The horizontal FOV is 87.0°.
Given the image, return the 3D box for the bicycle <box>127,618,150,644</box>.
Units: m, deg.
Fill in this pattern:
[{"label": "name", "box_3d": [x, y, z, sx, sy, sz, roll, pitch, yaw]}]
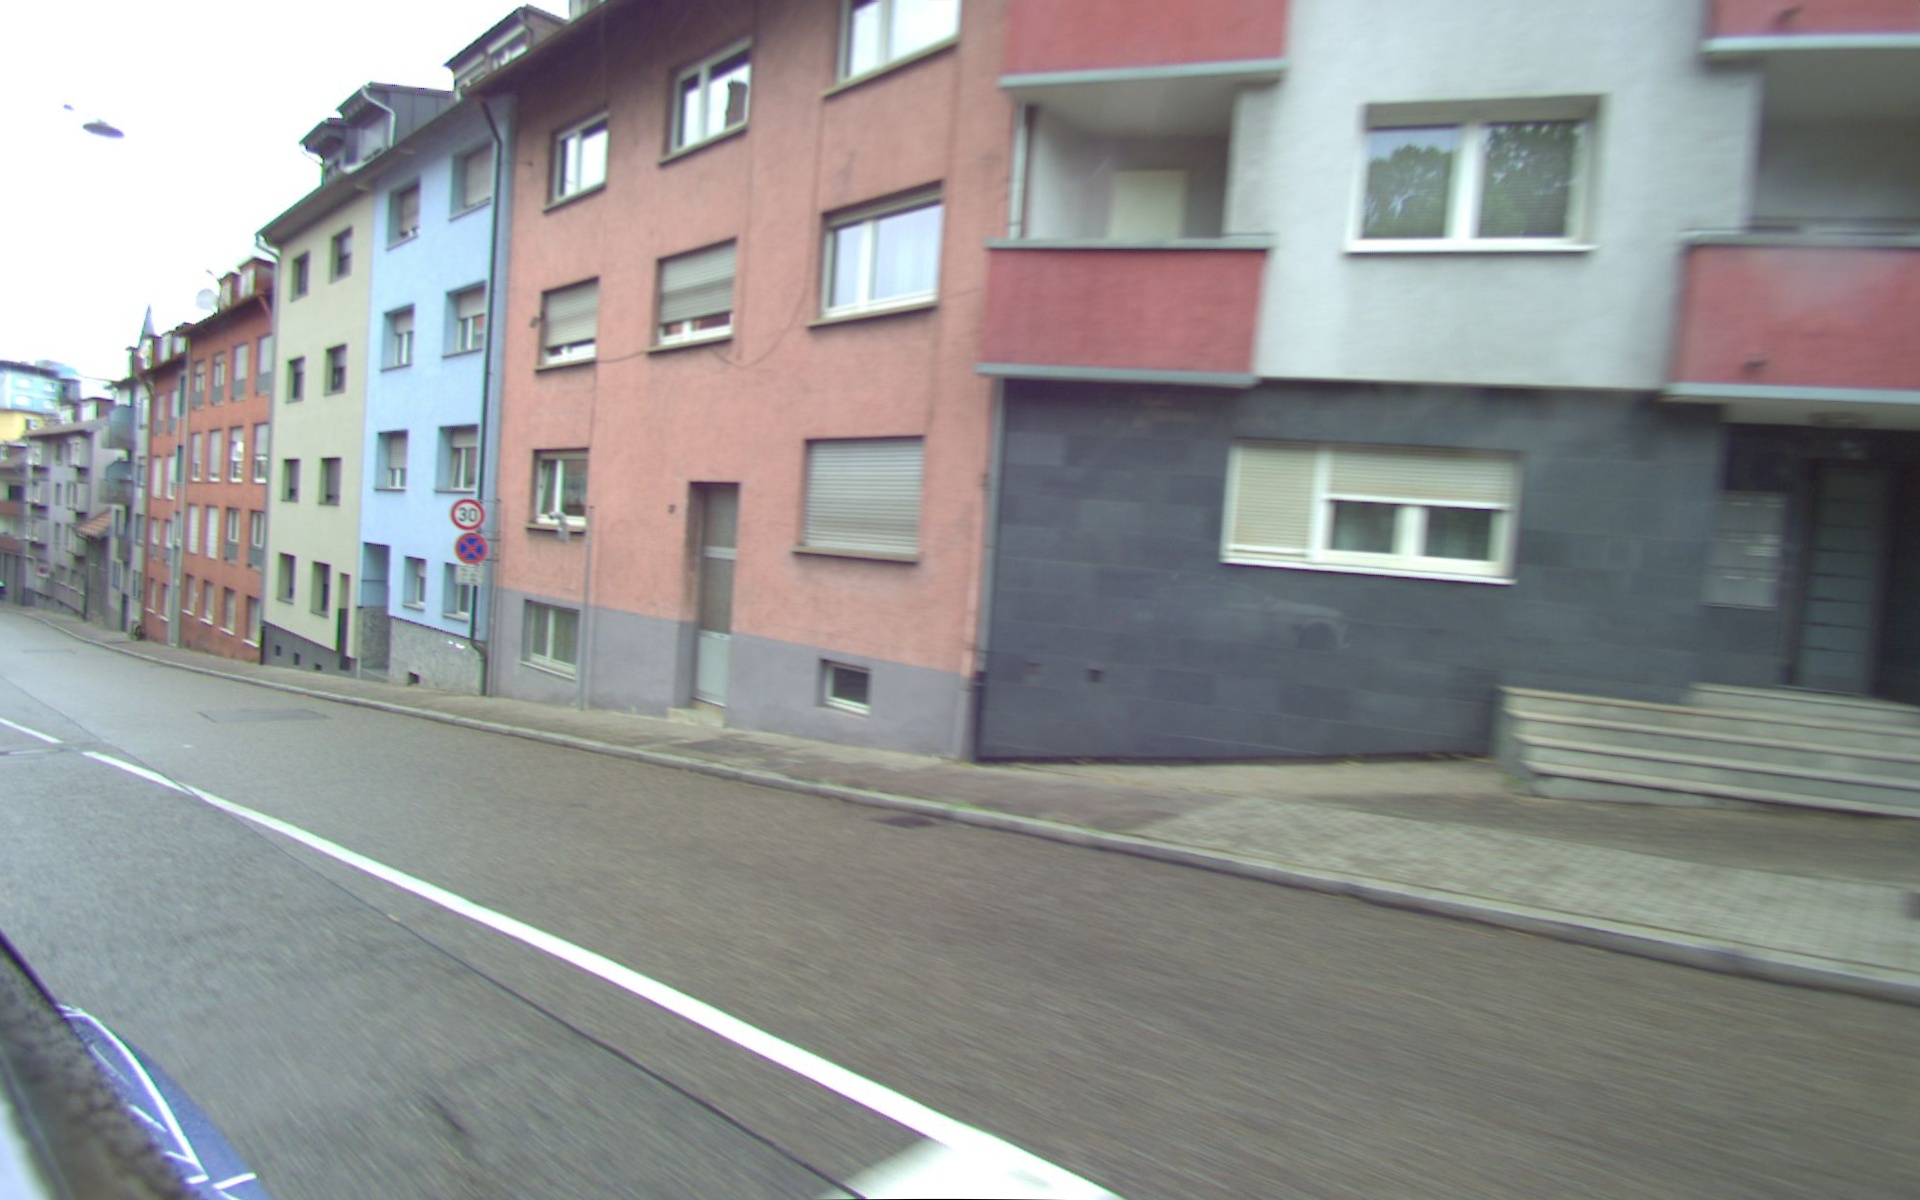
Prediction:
[{"label": "bicycle", "box_3d": [-37.851, 1.403, 46.615, 2.040, 1.125, 0.564, 1, 2, 44]}]
